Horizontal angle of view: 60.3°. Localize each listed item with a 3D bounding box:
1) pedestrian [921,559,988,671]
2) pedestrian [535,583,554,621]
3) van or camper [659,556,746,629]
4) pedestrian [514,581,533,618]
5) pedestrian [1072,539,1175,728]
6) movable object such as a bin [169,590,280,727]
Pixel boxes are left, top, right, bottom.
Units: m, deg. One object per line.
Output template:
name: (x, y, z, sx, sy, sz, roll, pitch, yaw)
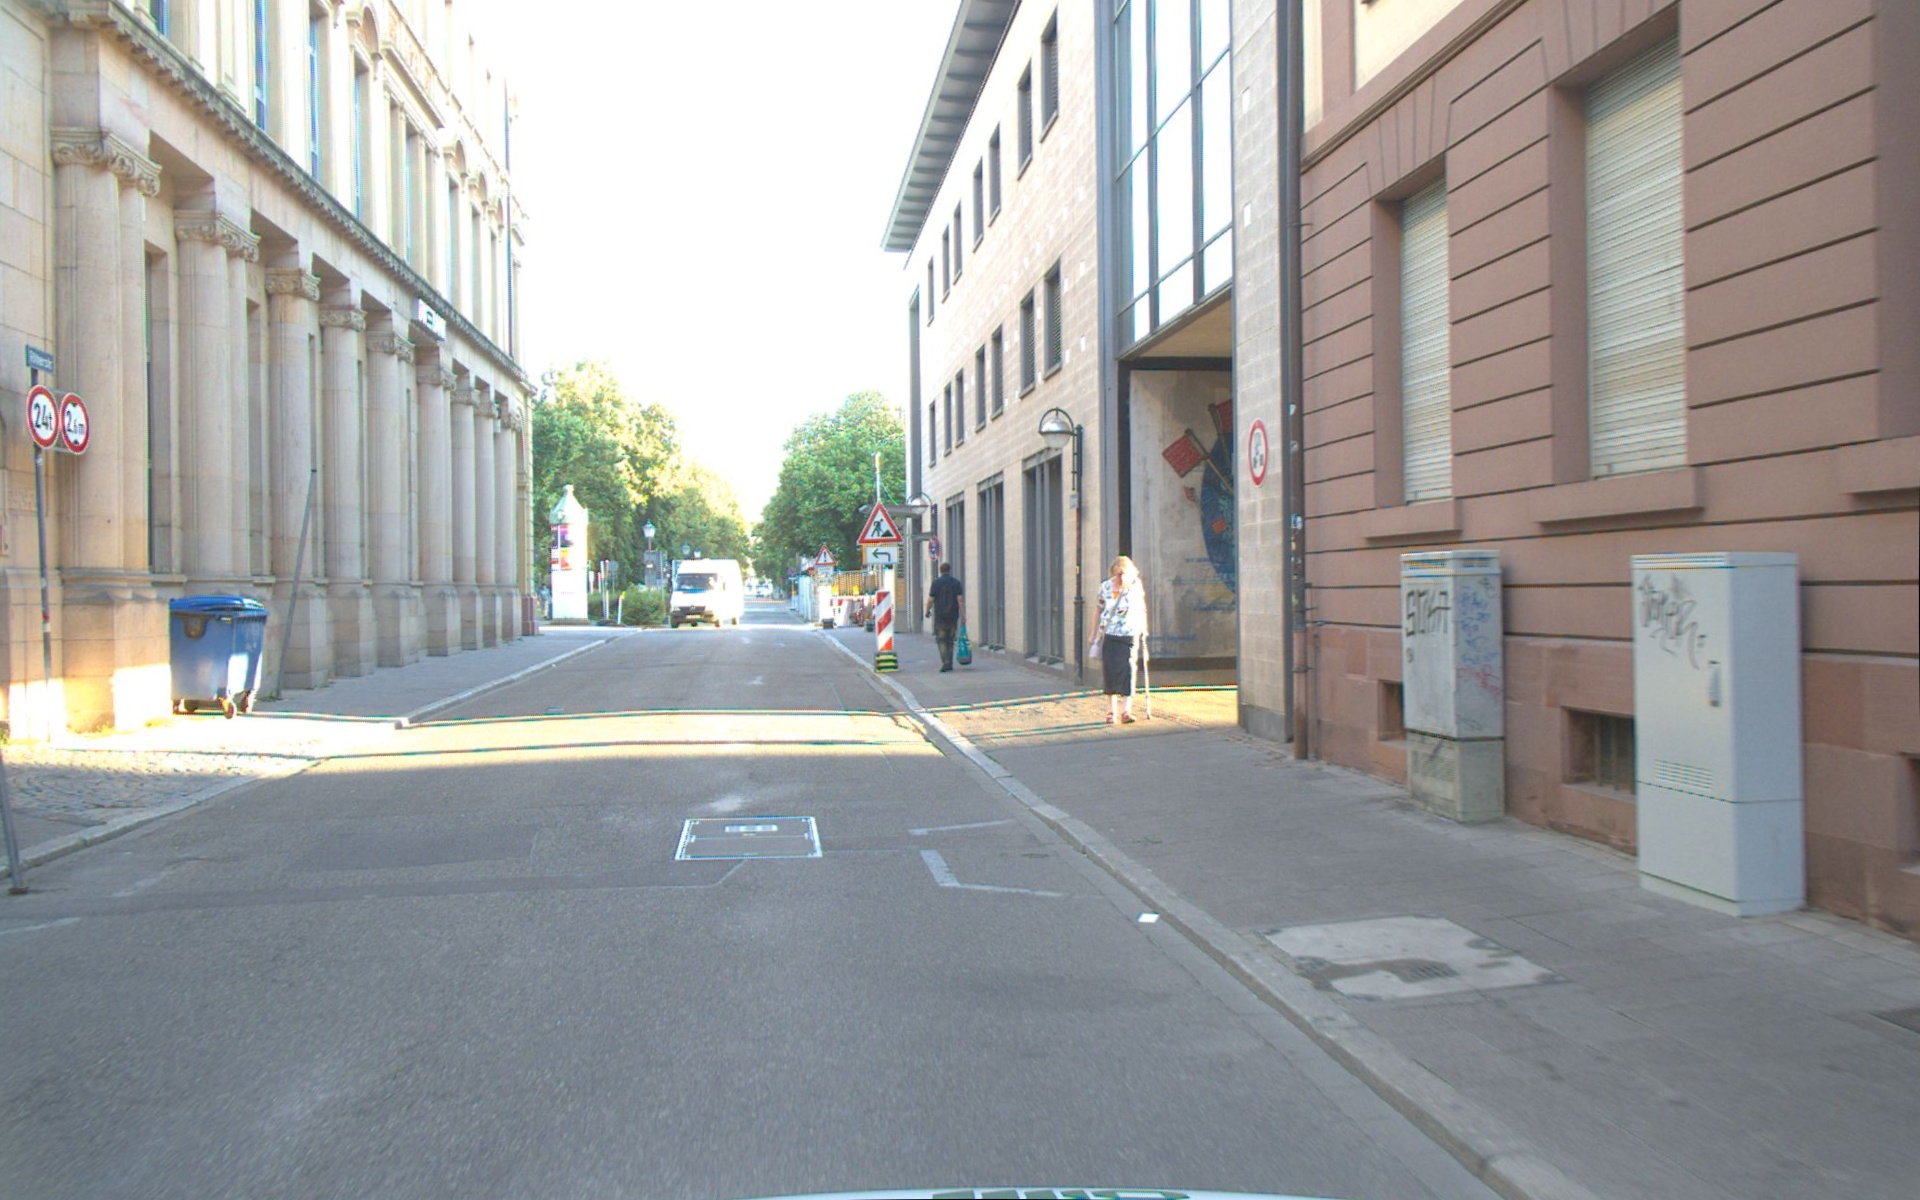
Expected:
pedestrian: (-0.101, 0.246, 27.952, 0.982, 1.835, 0.880, -2, 0, -8)
pedestrian: (-20.412, 0.092, 81.206, 0.837, 1.839, 0.660, 0, 0, -20)
van or camper: (-9.735, -0.305, 63.156, 2.173, 2.630, 6.373, -1, 1, 1)
pedestrian: (-21.348, -0.028, 80.893, 0.837, 1.839, 0.660, 0, 0, -20)
pedestrian: (1.662, 0.331, 16.977, 0.828, 1.834, 0.896, -3, 0, -3)
movable object such as a bin: (-8.555, 0.657, 19.289, 0.813, 1.529, 1.289, 0, 1, -6)
